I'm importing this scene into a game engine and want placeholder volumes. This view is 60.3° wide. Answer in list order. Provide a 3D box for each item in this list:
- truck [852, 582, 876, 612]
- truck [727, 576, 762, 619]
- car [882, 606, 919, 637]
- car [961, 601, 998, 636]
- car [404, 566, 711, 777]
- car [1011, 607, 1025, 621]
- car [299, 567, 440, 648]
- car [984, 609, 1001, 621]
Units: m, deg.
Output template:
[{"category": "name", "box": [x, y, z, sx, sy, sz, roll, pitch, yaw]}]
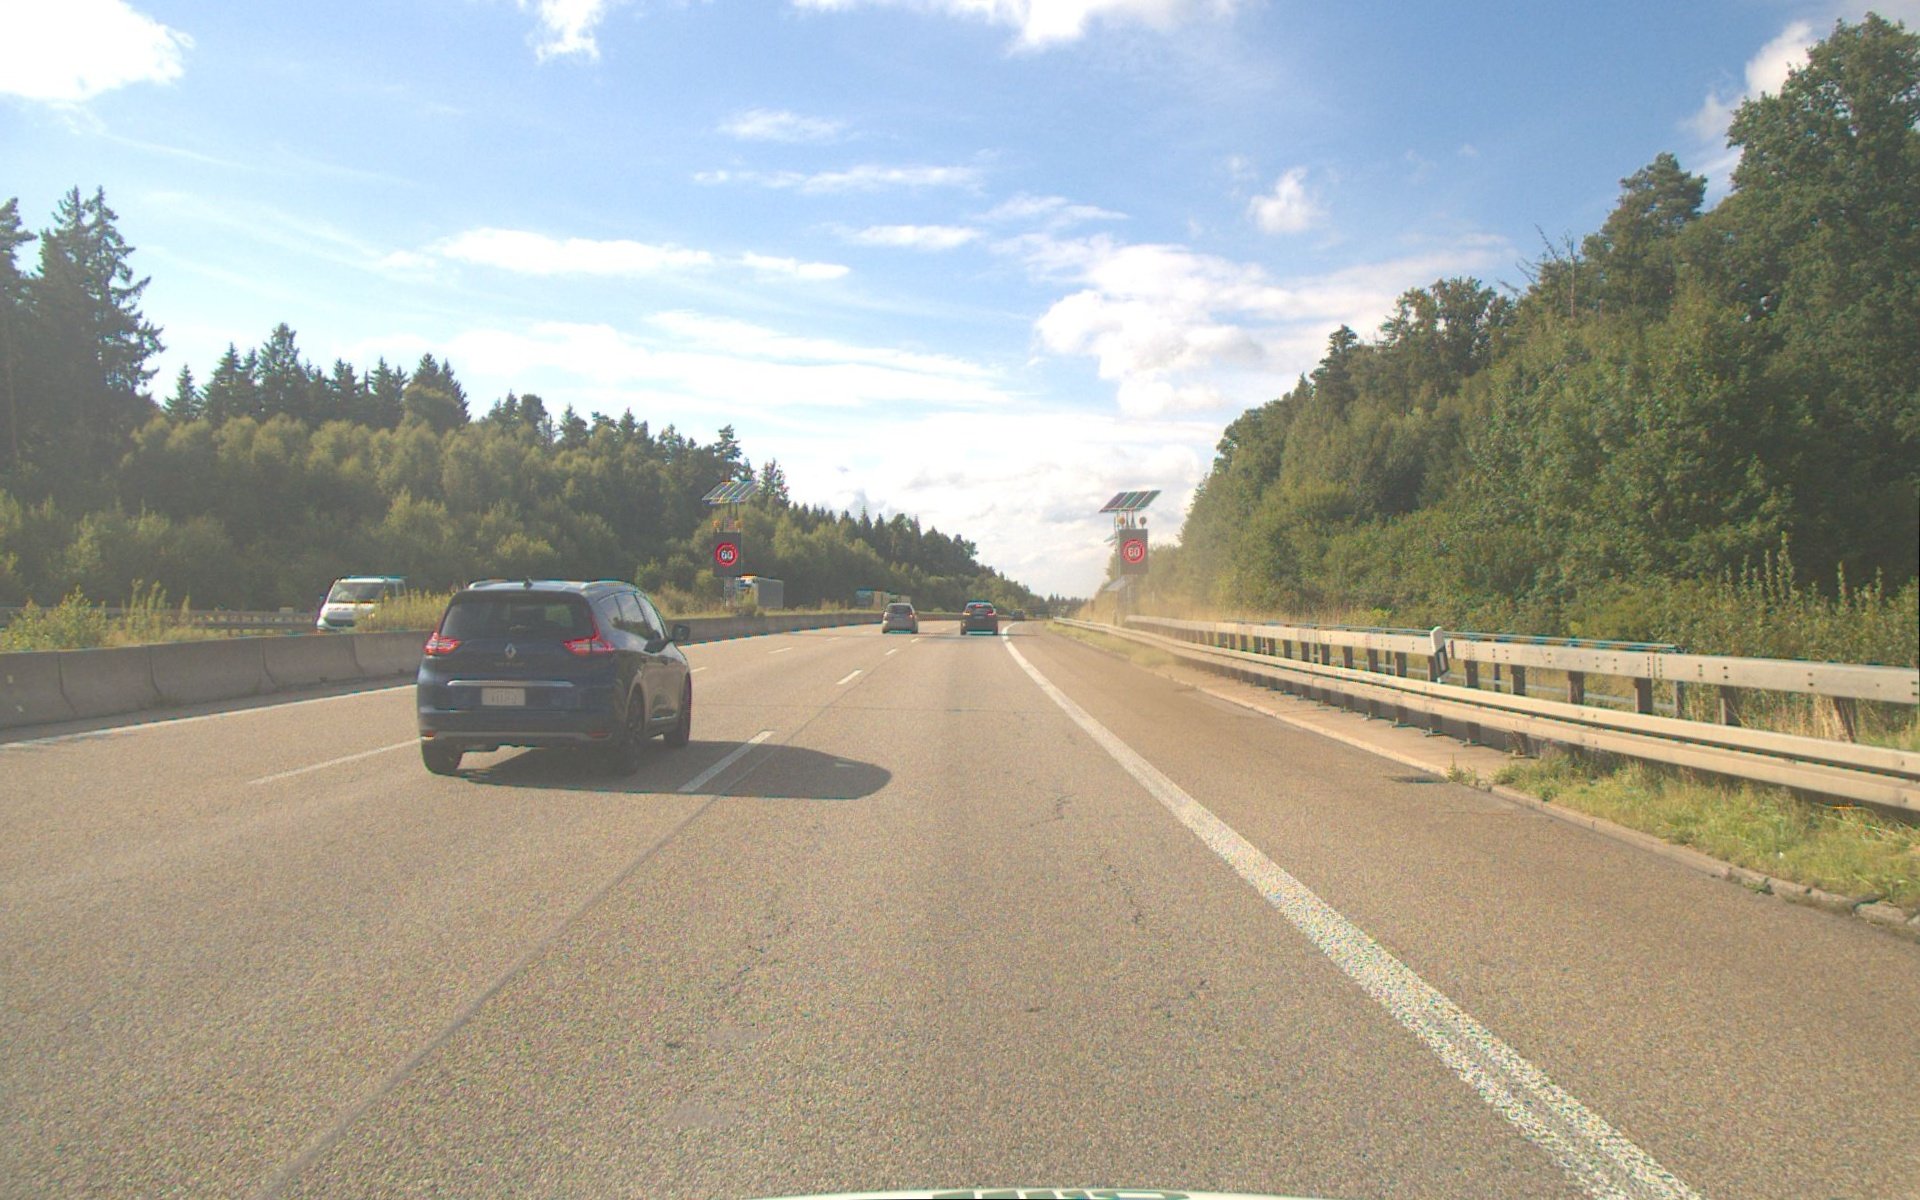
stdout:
[{"category": "truck", "box": [-13.713, -0.370, 235.869, 2.594, 4.157, 6.419, 0, 0, 4]}, {"category": "truck", "box": [-19.516, -0.189, 149.928, 2.231, 3.794, 5.533, 0, 0, 2]}, {"category": "car", "box": [-3.105, 1.113, 86.482, 1.835, 1.523, 3.879, 1, 0, -1]}, {"category": "car", "box": [1.010, 0.950, 84.807, 1.835, 1.704, 3.890, 1, 0, 0]}, {"category": "car", "box": [-3.685, 0.600, 16.024, 1.953, 1.736, 4.527, 1, 0, -2]}, {"category": "car", "box": [7.456, 1.849, 213.166, 1.775, 1.736, 4.000, 0, 0, 1]}, {"category": "car", "box": [-19.276, 0.253, 54.334, 2.263, 2.358, 6.192, 4, 0, 0]}, {"category": "car", "box": [4.323, 1.932, 220.619, 1.834, 1.523, 3.883, 1, 0, 7]}]
